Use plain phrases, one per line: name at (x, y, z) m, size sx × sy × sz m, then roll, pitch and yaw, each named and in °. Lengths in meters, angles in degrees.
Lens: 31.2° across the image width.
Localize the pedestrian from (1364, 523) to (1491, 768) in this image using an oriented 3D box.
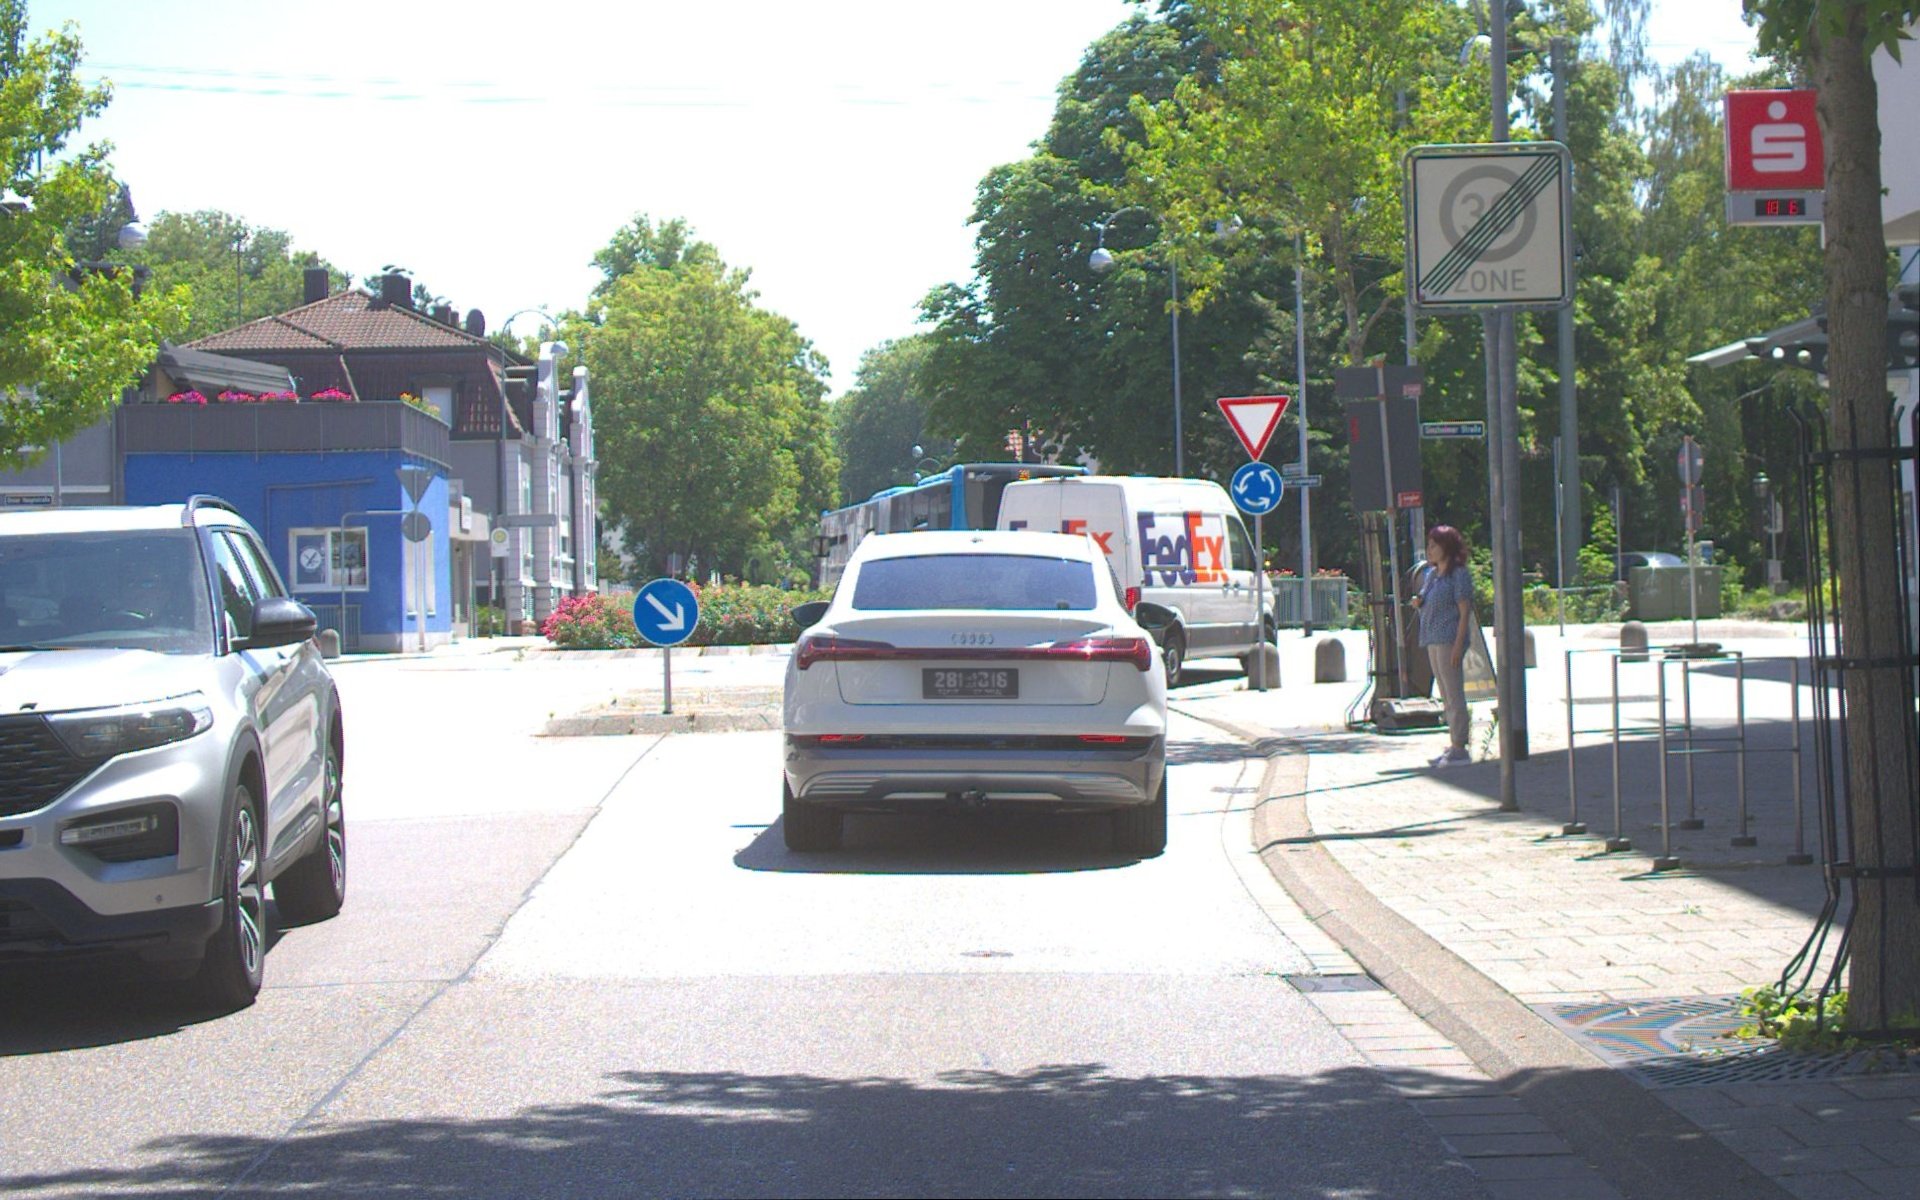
pedestrian at (3.132, 0.299, 23.076) m, size 0.732 × 1.604 × 0.559 m, roll -2°, pitch 0°, yaw 1°

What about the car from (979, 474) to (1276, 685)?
car at (2.203, -0.277, 43.283) m, size 1.996 × 2.472 × 5.478 m, roll -1°, pitch 1°, yaw 22°

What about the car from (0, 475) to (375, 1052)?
car at (-3.447, 0.515, 12.933) m, size 1.900 × 1.748 × 4.757 m, roll -3°, pitch 1°, yaw -4°

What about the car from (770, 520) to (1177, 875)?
car at (0.050, 0.432, 18.294) m, size 1.898 × 1.656 × 4.409 m, roll 0°, pitch 1°, yaw 0°

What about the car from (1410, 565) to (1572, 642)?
car at (11.501, 0.065, 74.520) m, size 3.048 × 1.547 × 1.635 m, roll -2°, pitch 1°, yaw -14°

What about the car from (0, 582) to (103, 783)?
car at (-8.126, 0.602, 27.767) m, size 1.666 × 1.481 × 4.061 m, roll 1°, pitch 0°, yaw -4°

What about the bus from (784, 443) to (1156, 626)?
bus at (-0.254, -1.152, 69.035) m, size 3.705 × 3.160 × 18.074 m, roll 1°, pitch 0°, yaw -12°
